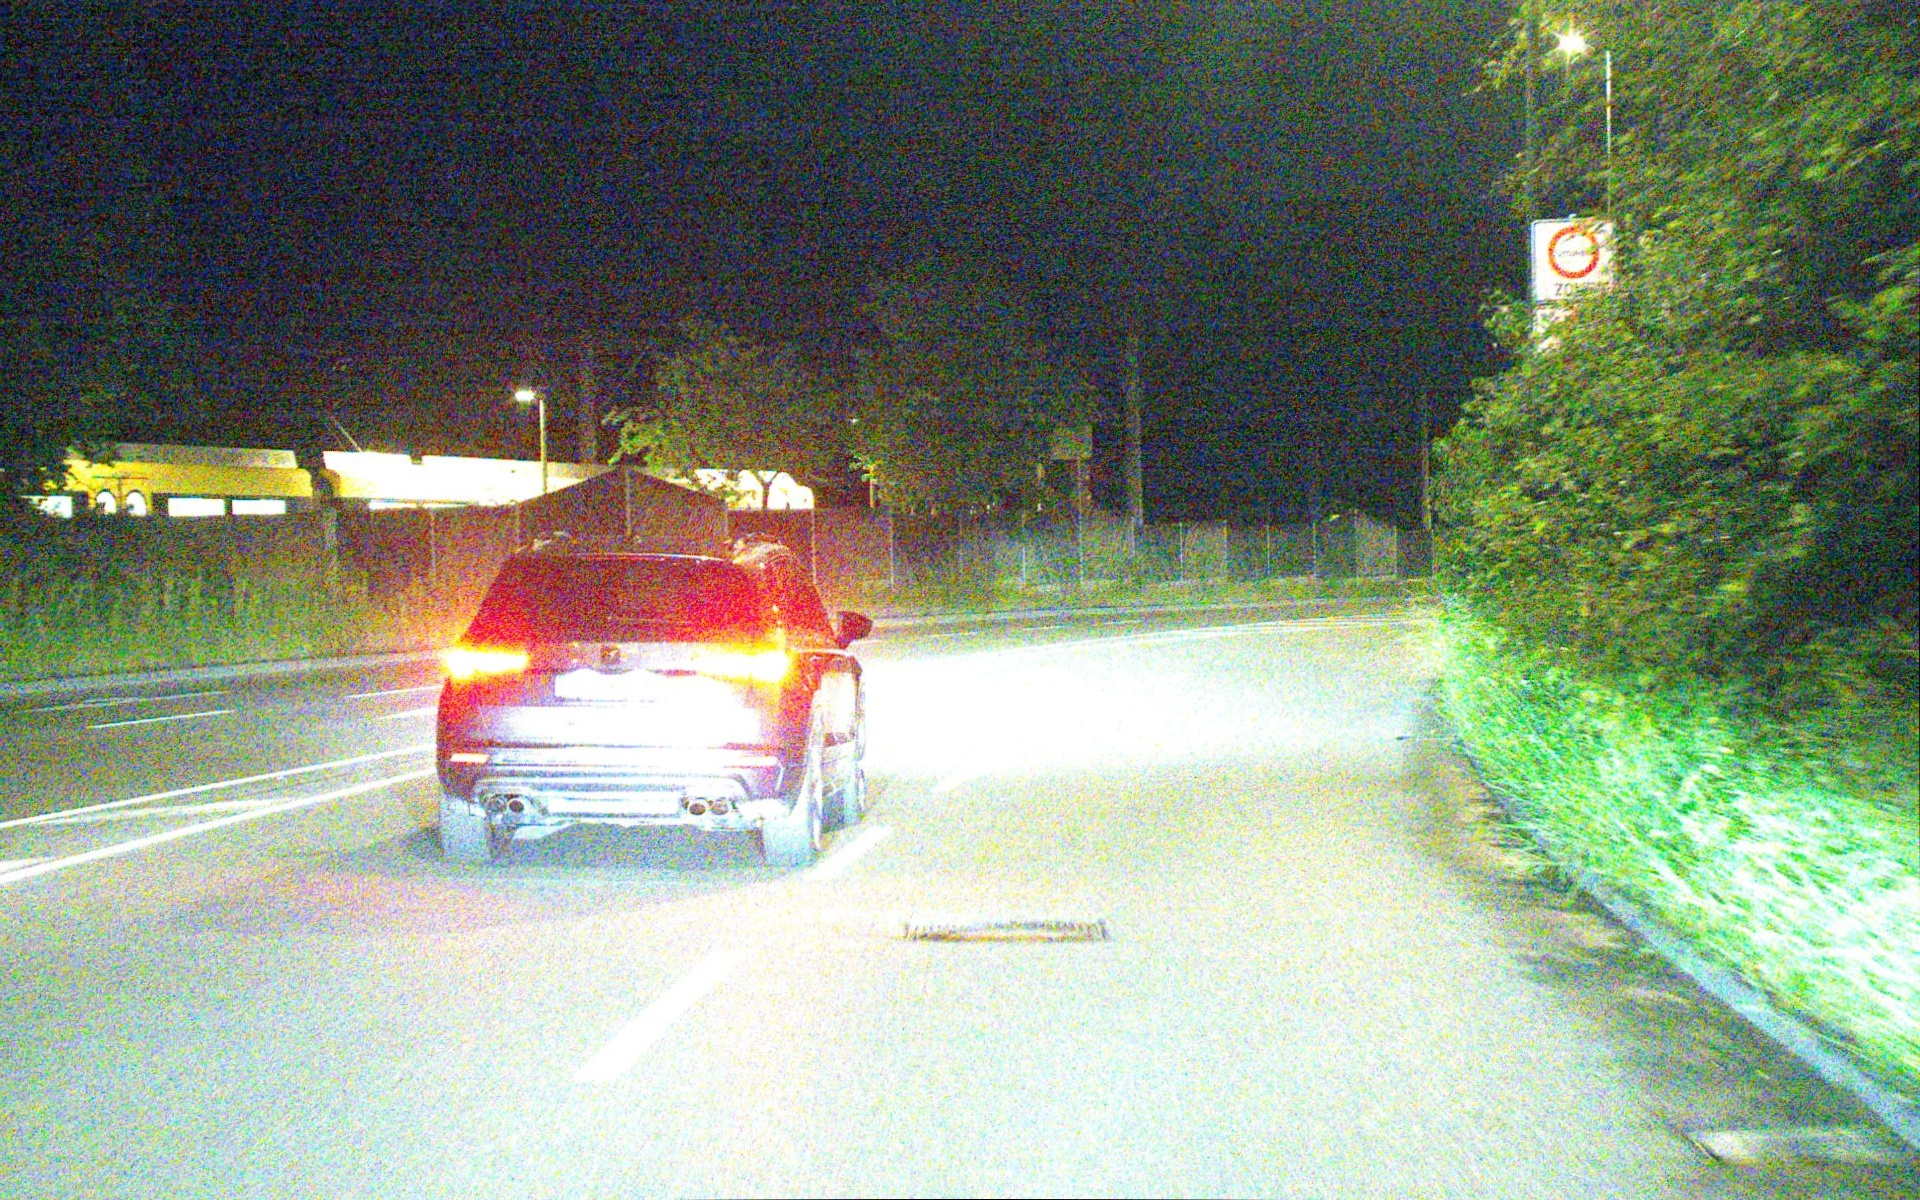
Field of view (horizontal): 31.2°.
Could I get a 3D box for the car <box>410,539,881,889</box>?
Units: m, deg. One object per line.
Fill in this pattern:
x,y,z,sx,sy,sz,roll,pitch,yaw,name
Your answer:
-1.479,0.482,17.583,1.815,1.568,3.943,0,1,3,car
